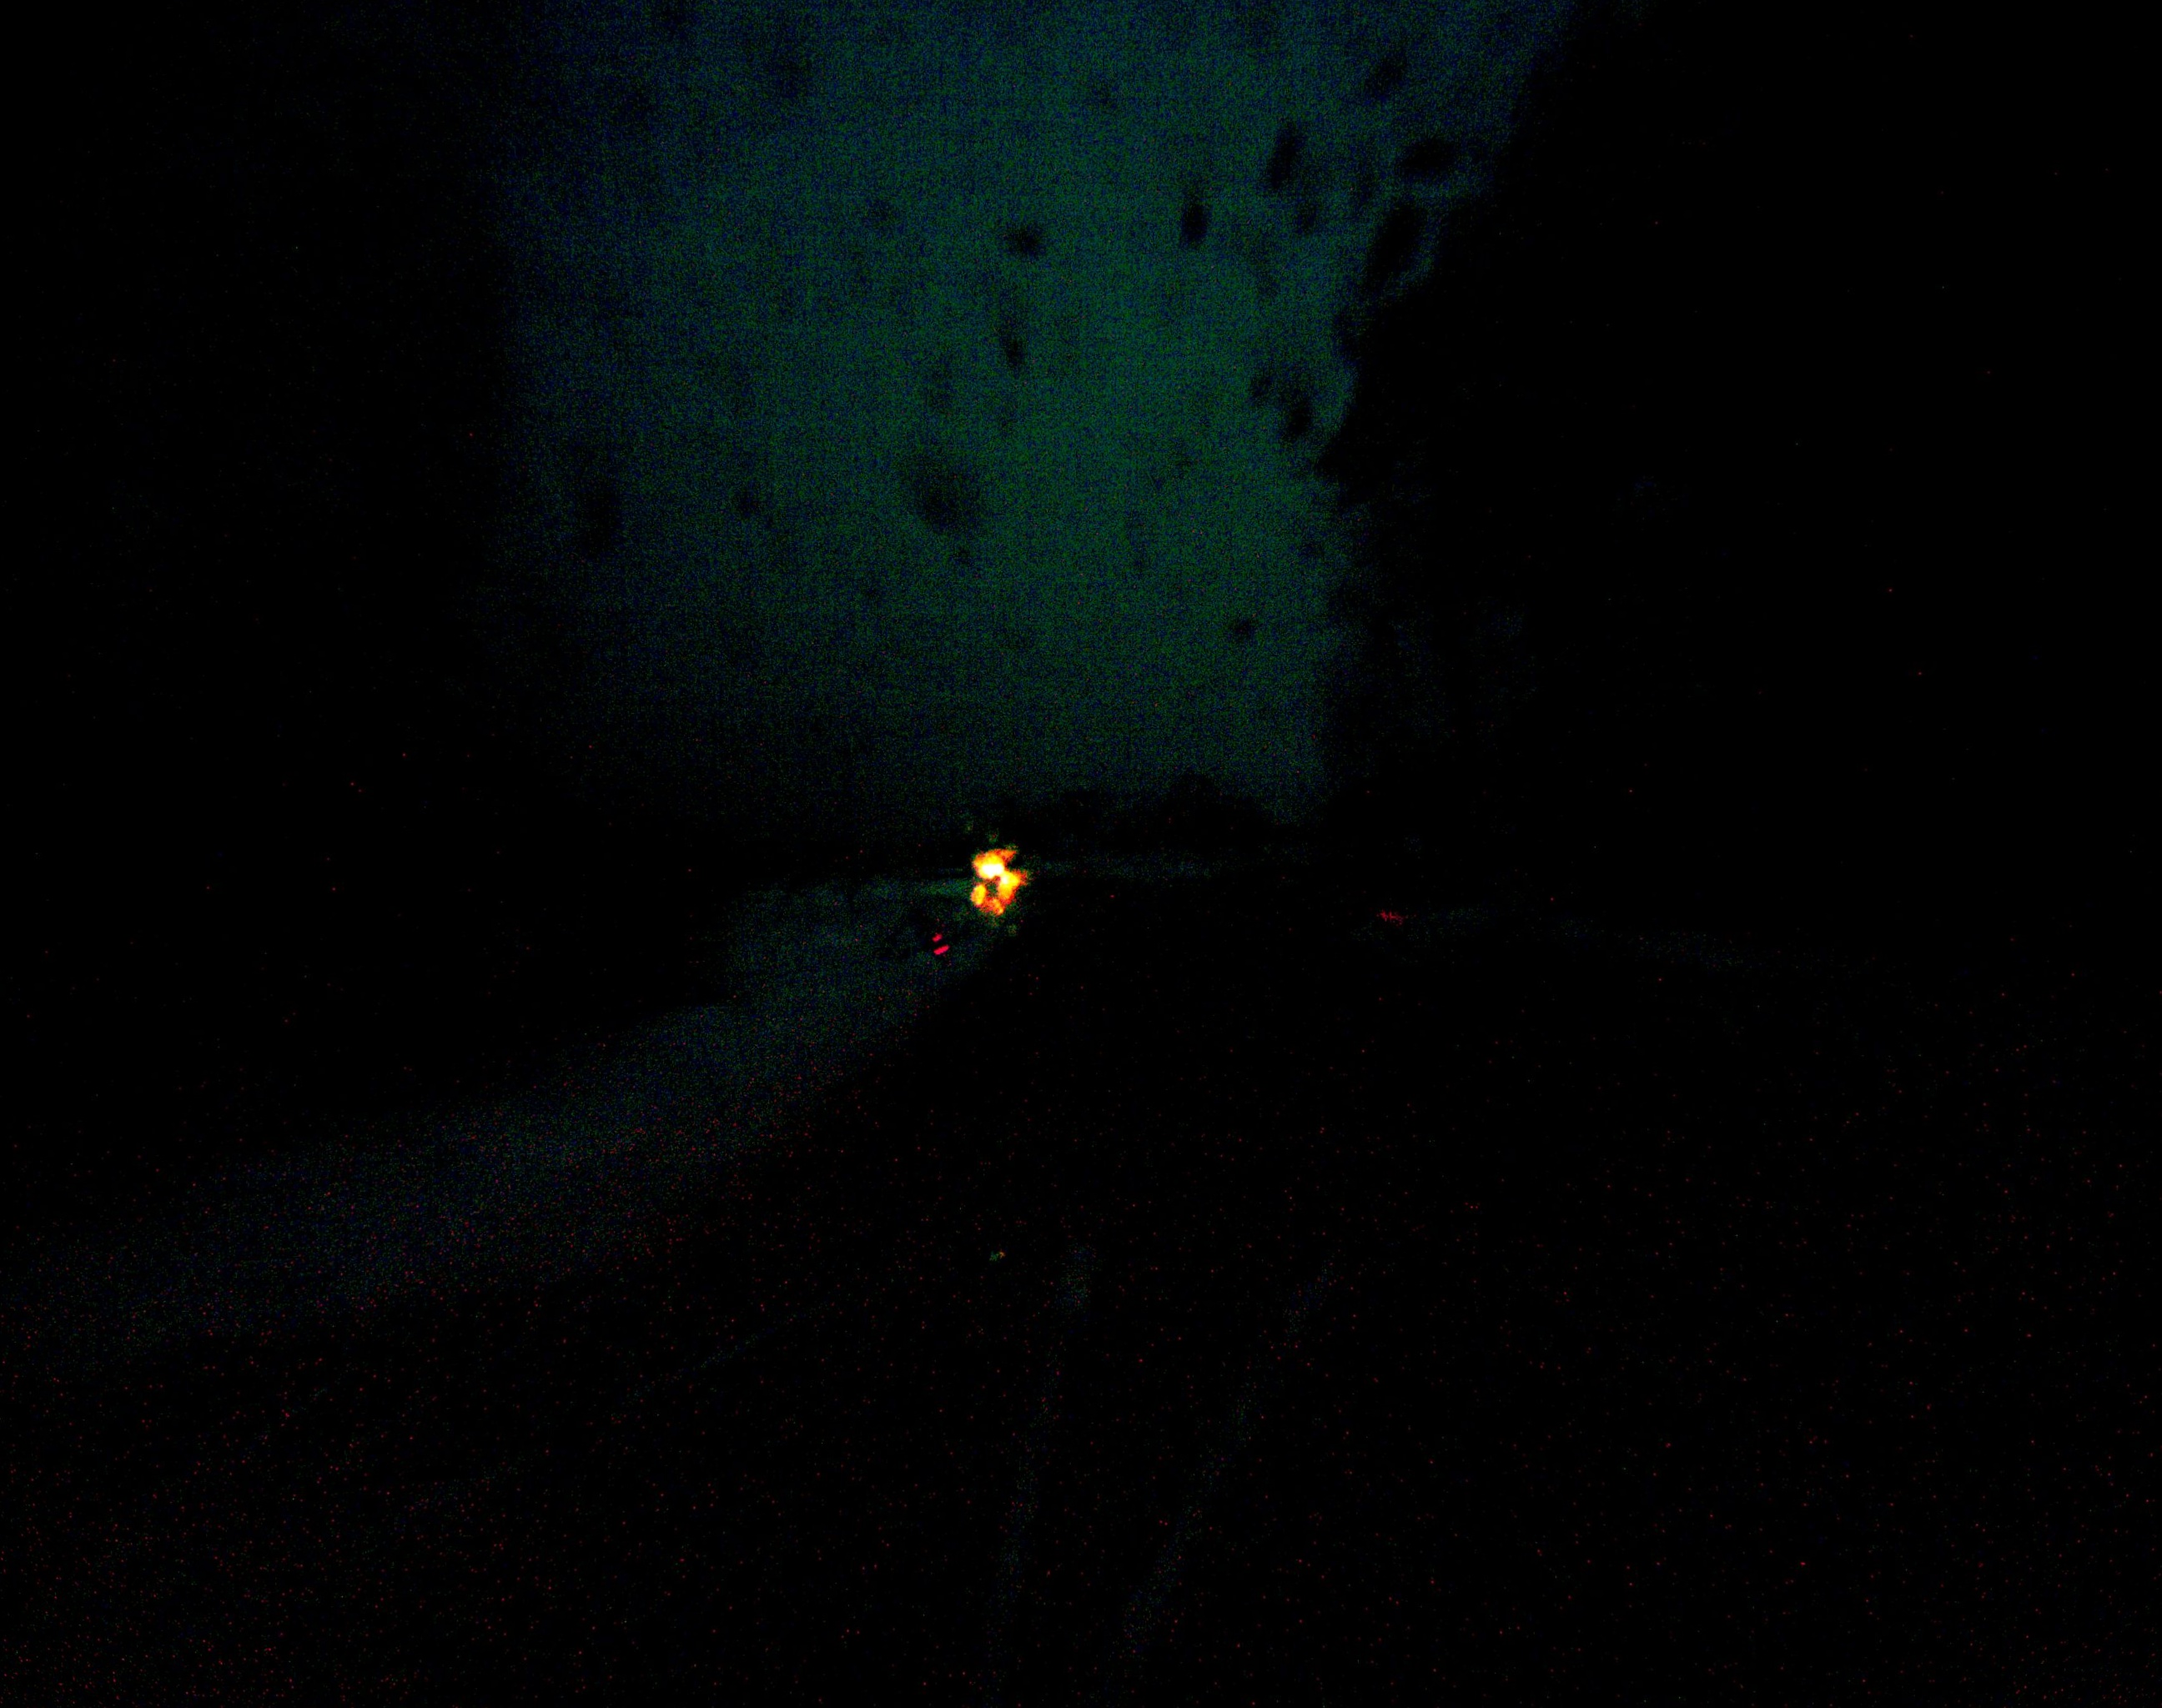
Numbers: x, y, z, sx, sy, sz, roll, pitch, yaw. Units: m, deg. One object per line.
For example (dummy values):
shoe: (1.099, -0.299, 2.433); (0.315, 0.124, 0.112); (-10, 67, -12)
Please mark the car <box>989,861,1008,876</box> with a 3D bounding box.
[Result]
car: (-13.030, 2.282, 120.061); (2.001, 2.002, 3.994); (-6, 2, -17)
